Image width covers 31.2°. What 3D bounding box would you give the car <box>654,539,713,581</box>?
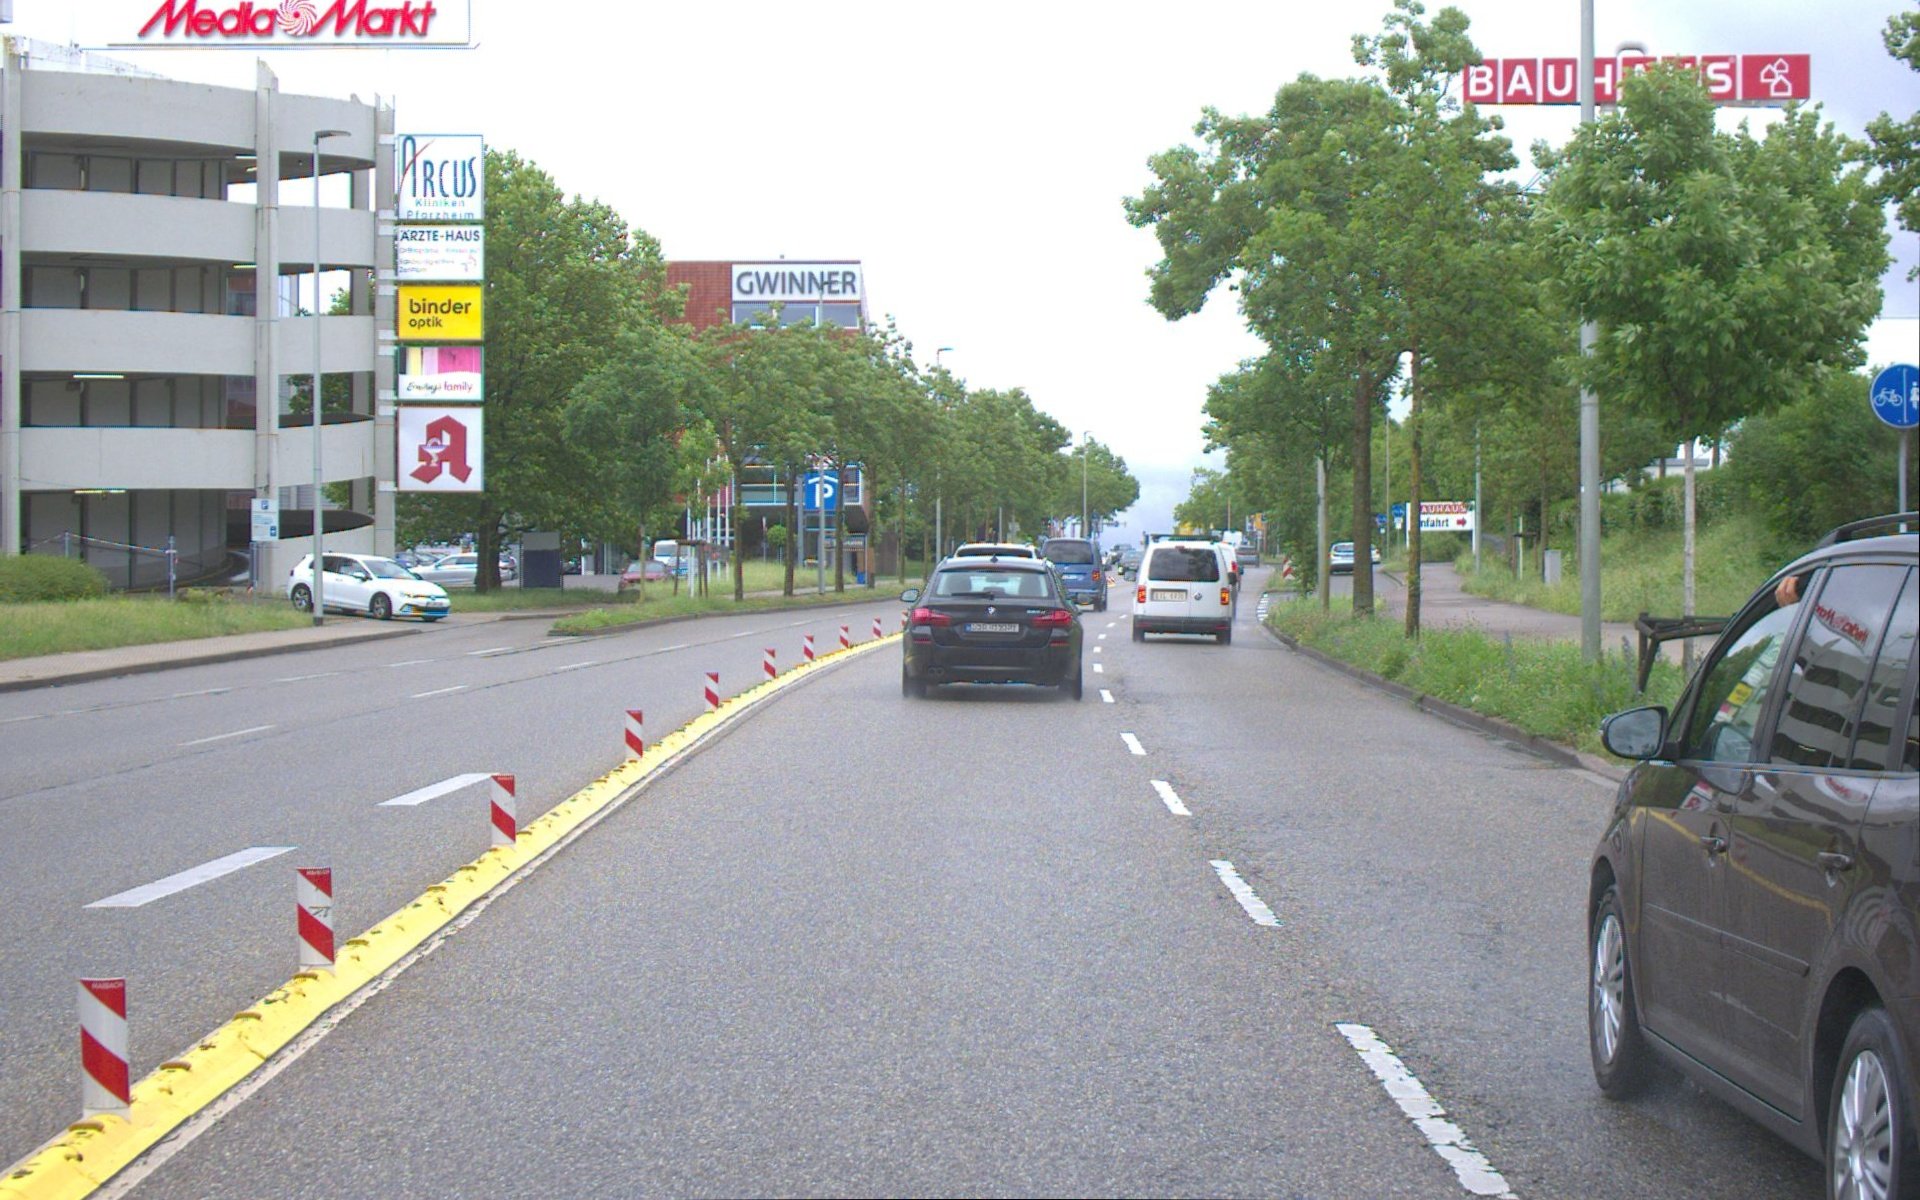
[{"bbox_3d":[-12.522,-1.835,155.954,2.039,1.756,4.946,2,2,2],"label":"car"}]

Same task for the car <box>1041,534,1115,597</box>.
[{"bbox_3d":[3.036,-0.880,88.163,1.794,1.505,4.000,2,0,2],"label":"car"}]

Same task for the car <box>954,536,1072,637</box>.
[{"bbox_3d":[0.853,-0.221,55.730,1.794,1.505,4.000,2,0,1],"label":"car"}]

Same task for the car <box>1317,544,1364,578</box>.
[{"bbox_3d":[17.684,-1.808,159.962,1.794,1.505,4.000,2,0,2],"label":"car"}]

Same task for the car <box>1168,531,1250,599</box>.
[{"bbox_3d":[5.874,-0.817,81.366,1.794,1.505,4.000,2,0,3],"label":"car"}]

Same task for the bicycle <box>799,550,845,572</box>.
[{"bbox_3d":[-7.011,-1.961,174.289,2.077,0.932,1.093,5,1,9],"label":"bicycle"}]

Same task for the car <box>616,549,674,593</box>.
[{"bbox_3d":[-12.951,-1.214,141.531,1.933,1.603,4.712,1,2,0],"label":"car"}]

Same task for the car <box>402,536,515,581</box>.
[{"bbox_3d":[-21.393,-1.778,146.823,4.598,1.740,1.967,1,2,-3],"label":"car"}]

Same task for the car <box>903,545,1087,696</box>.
[{"bbox_3d":[0.370,0.170,36.204,1.827,1.463,4.000,0,1,1],"label":"car"}]

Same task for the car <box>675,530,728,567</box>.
[{"bbox_3d":[-13.271,-2.657,176.873,2.138,1.767,4.608,2,2,3],"label":"car"}]

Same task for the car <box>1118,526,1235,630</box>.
[{"bbox_3d":[3.854,-0.423,61.843,1.827,1.753,4.000,2,1,1],"label":"car"}]

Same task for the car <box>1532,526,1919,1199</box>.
[{"bbox_3d":[2.585,0.628,8.143,1.685,1.575,4.219,1,1,-1],"label":"car"}]

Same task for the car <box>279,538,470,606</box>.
[{"bbox_3d":[-13.803,-0.680,80.916,4.419,1.403,1.901,3,3,37],"label":"car"}]
